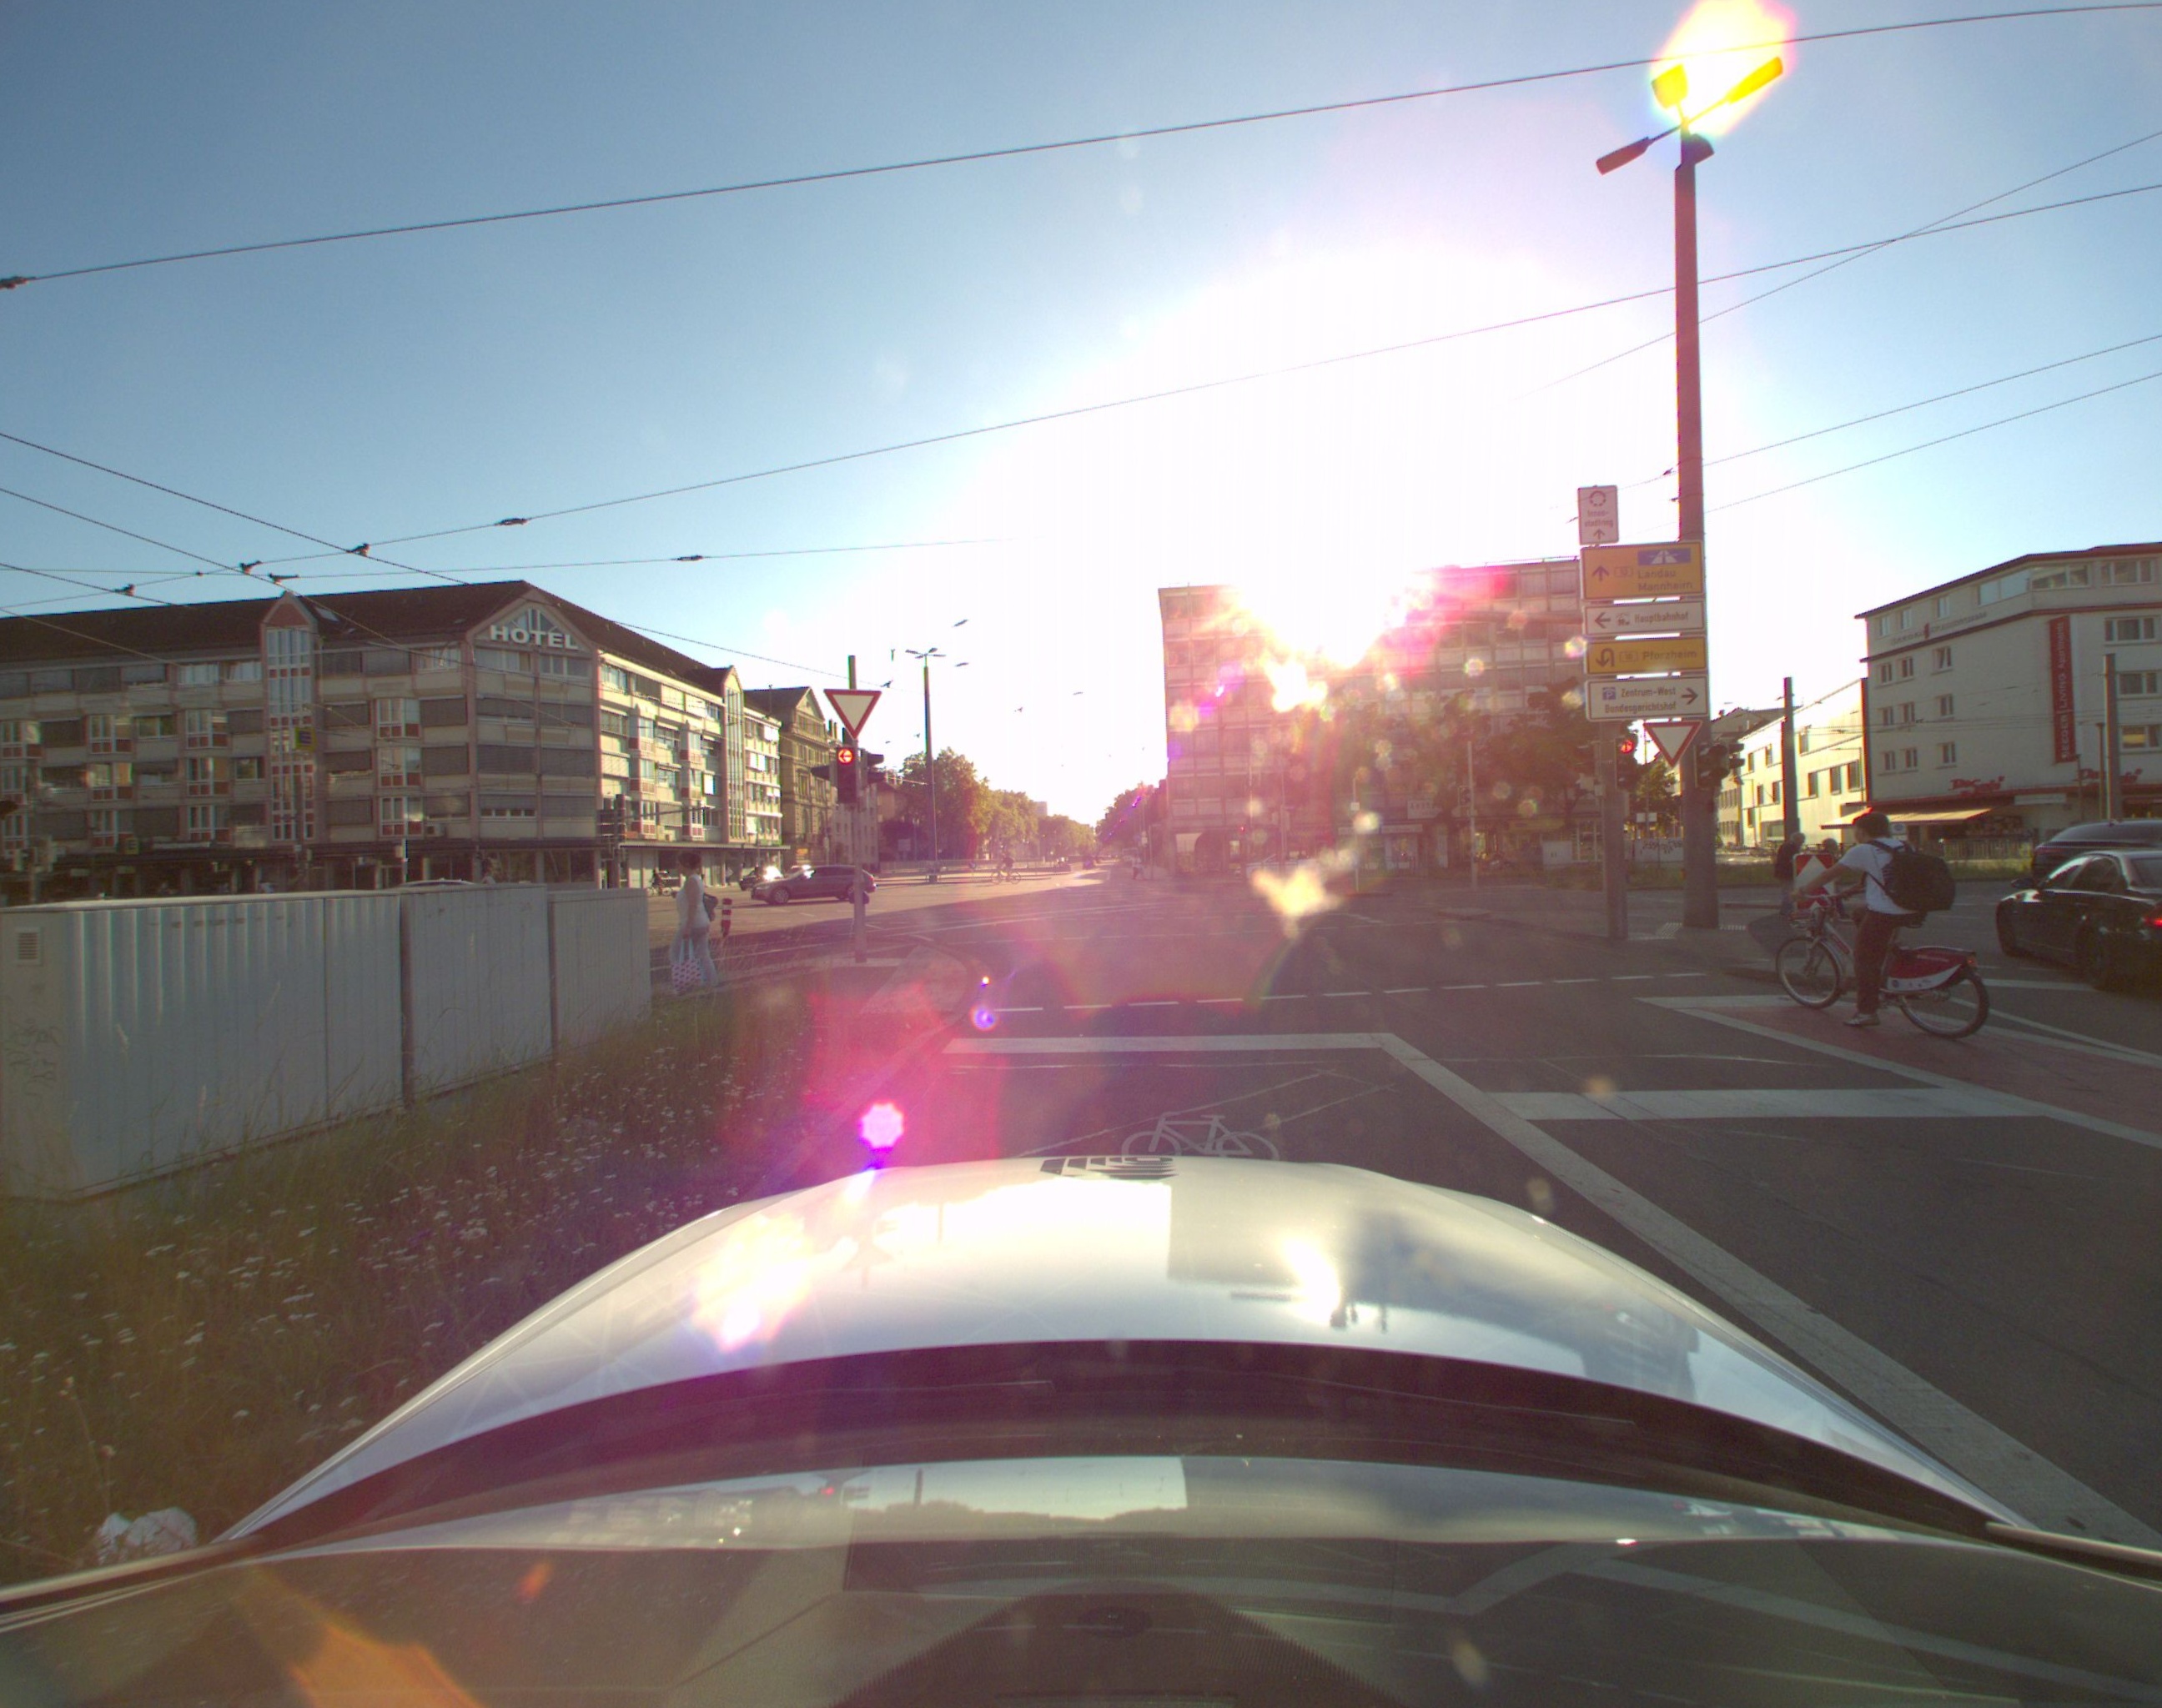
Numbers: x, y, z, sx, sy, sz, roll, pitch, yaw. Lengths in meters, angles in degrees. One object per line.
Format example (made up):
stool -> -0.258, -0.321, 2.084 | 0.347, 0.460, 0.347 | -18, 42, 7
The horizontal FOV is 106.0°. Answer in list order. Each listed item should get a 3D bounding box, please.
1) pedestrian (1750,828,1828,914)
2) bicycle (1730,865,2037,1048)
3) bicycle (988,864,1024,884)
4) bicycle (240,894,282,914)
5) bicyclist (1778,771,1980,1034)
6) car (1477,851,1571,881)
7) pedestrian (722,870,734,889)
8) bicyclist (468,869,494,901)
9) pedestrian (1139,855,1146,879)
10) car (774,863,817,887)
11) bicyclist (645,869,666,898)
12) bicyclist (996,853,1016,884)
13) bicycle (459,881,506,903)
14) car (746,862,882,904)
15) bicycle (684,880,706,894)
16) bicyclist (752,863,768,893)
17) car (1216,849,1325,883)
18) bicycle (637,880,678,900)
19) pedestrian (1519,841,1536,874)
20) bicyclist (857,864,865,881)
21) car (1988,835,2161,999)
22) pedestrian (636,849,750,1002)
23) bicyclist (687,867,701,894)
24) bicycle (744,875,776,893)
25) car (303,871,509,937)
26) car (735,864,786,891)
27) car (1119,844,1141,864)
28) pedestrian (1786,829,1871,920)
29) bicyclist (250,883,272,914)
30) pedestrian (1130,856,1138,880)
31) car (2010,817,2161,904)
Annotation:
pedestrian -> 13.656, 0.323, 15.730 | 0.875, 1.597, 0.655 | -2, 0, 0
bicycle -> 6.568, 0.752, 6.864 | 0.642, 1.223, 2.050 | 0, 2, 3
bicycle -> -4.327, 1.146, 47.054 | 1.967, 1.098, 0.677 | -2, 0, -2
bicycle -> -47.435, 2.892, 47.108 | 1.731, 1.059, 0.538 | -2, 0, -8
bicyclist -> 6.569, 0.361, 6.776 | 0.641, 2.013, 1.068 | 0, 1, 3
car -> 23.722, 0.635, 43.716 | 3.968, 1.420, 2.003 | -2, 0, 5
pedestrian -> -29.786, 2.154, 68.662 | 0.623, 1.605, 0.705 | -2, 0, 3
bicyclist -> -33.996, 1.739, 46.139 | 0.896, 1.753, 0.654 | -2, 0, -3
pedestrian -> 3.959, 0.824, 52.470 | 0.365, 1.508, 0.542 | -2, 0, -5
car -> -24.606, 1.814, 70.259 | 1.984, 1.860, 4.005 | -2, 0, 4
bicyclist -> -26.877, 1.870, 51.483 | 0.896, 1.753, 0.650 | -2, 0, -2
bicyclist -> -4.337, 0.826, 47.059 | 1.037, 1.739, 0.677 | -2, 0, -2
bicycle -> -33.906, 2.147, 46.137 | 2.089, 1.137, 0.658 | -2, 0, -3
car -> -10.889, 1.139, 33.378 | 4.954, 1.479, 1.979 | -2, 0, -33
bicycle -> -27.540, 2.344, 58.148 | 0.596, 0.915, 1.838 | -2, 0, 4
bicyclist -> -21.894, 1.651, 55.616 | 0.772, 2.013, 0.606 | -2, 0, 8
car -> 9.375, 0.597, 40.463 | 4.907, 1.479, 1.999 | -2, 0, -2
bicycle -> -26.806, 2.283, 51.518 | 2.168, 1.137, 0.658 | -2, 0, -3
pedestrian -> 27.988, 0.202, 51.063 | 0.703, 2.013, 0.559 | -2, 0, 5
bicyclist -> -25.214, 2.129, 93.384 | 0.590, 1.862, 0.642 | -2, 0, 3
car -> 11.322, 0.531, 8.466 | 1.726, 1.426, 4.026 | -2, 0, 37
pedestrian -> -4.278, 0.764, 9.023 | 0.875, 1.597, 0.655 | -2, 0, 1
bicyclist -> -27.635, 1.866, 58.145 | 0.590, 1.862, 0.642 | -2, 0, 3
bicycle -> -21.915, 2.051, 55.605 | 1.950, 1.201, 0.611 | -2, 0, 7
car -> -19.891, 1.411, 24.160 | 1.974, 1.596, 4.374 | -3, 0, 39
car -> -24.490, 1.789, 62.370 | 1.984, 1.860, 4.005 | -2, 0, 4
car -> 6.253, 0.005, 104.567 | 2.477, 2.392, 5.936 | -4, -1, 2
pedestrian -> 13.614, 0.370, 14.851 | 0.875, 1.597, 0.655 | -2, 0, 0
bicyclist -> -47.418, 2.558, 47.114 | 0.663, 1.712, 0.537 | -2, 0, -8
pedestrian -> 3.373, 0.867, 51.651 | 0.365, 1.508, 0.542 | -2, 0, -5
car -> 22.601, 0.083, 17.462 | 3.994, 1.693, 1.990 | -1, 1, -15
